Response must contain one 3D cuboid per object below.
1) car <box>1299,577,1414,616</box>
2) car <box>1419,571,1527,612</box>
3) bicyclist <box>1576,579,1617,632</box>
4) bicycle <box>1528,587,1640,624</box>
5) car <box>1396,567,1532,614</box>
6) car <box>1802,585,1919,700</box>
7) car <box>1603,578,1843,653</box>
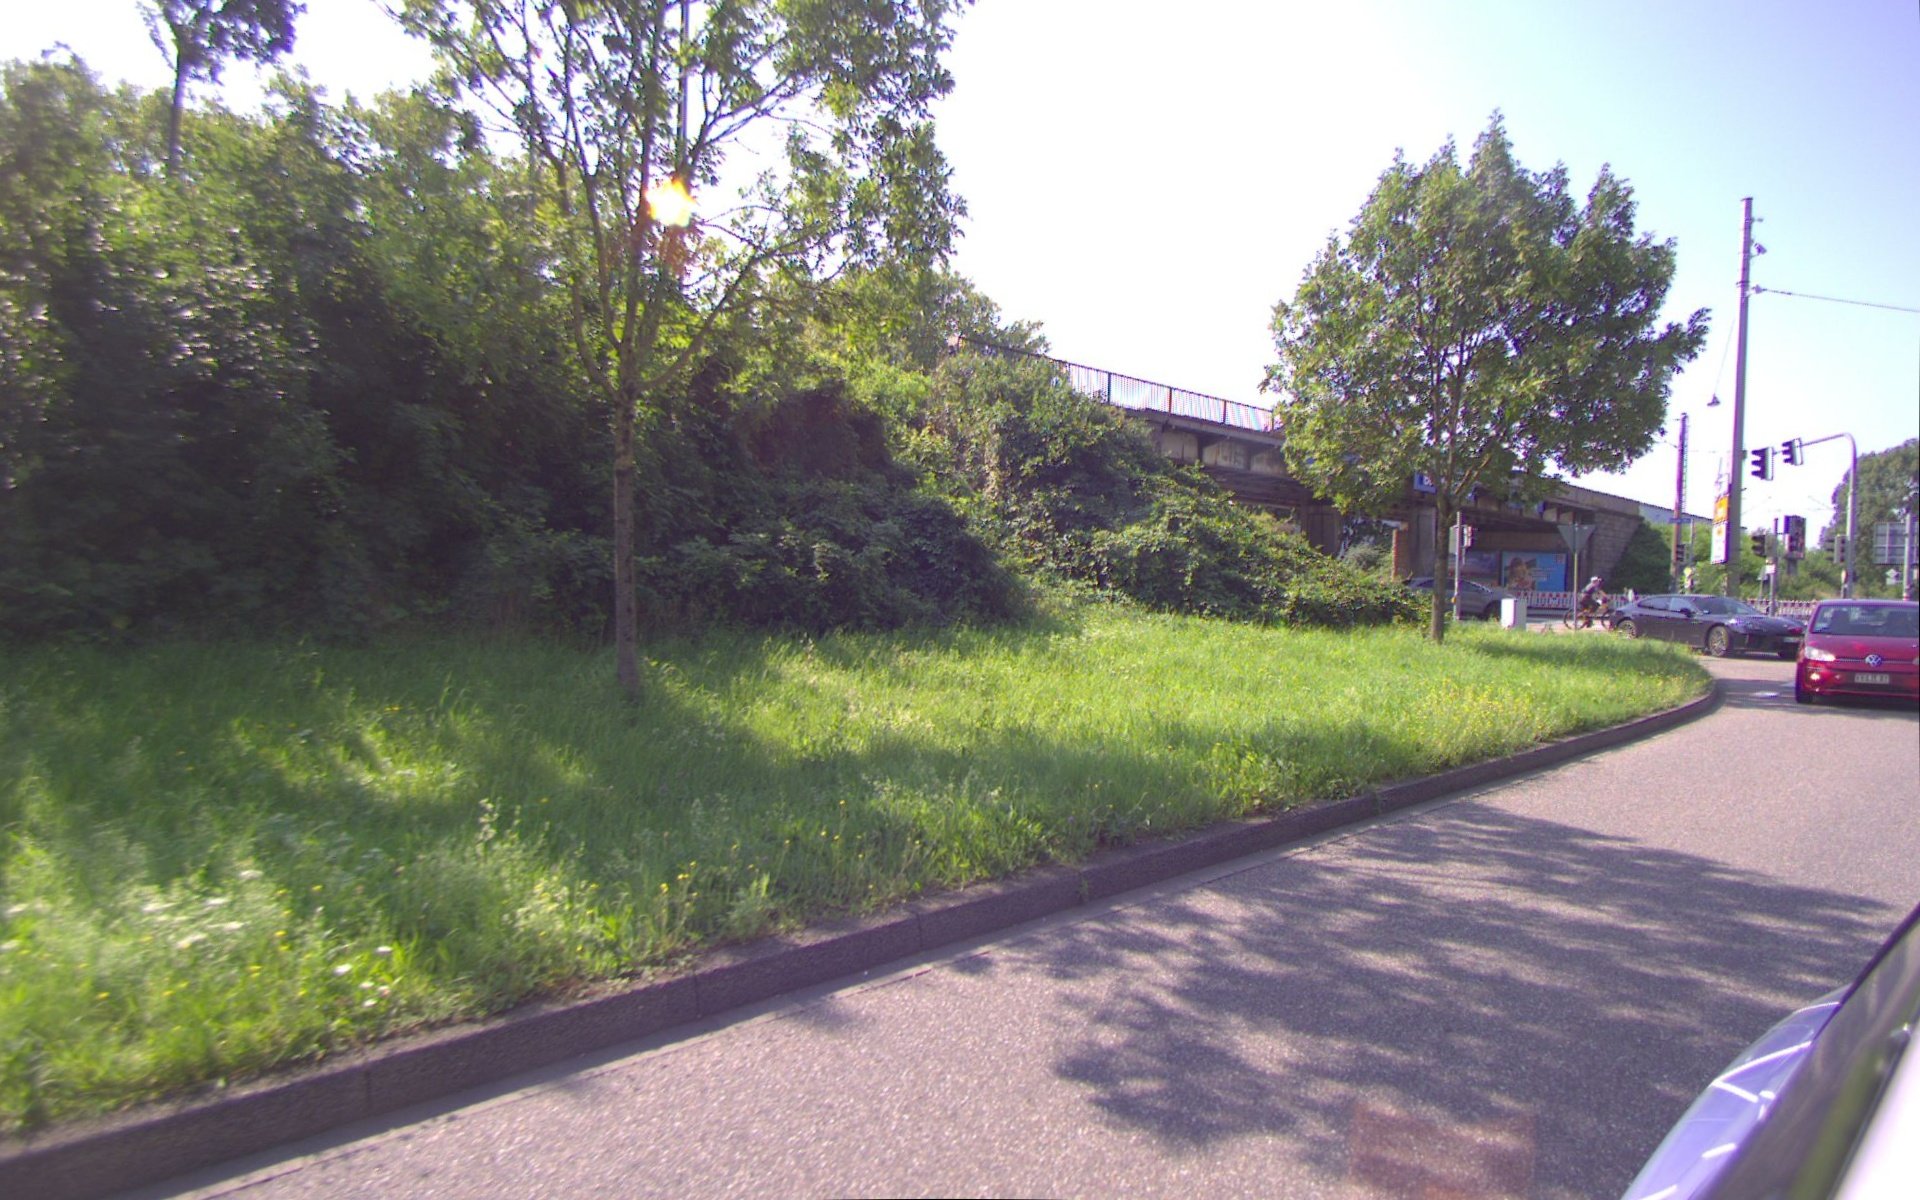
[{"bbox_3d":[16.928,-0.166,43.437,4.278,1.593,1.994,0,0,11],"label":"car"},{"bbox_3d":[21.453,-0.392,42.435,3.637,1.557,1.722,2,2,11],"label":"car"},{"bbox_3d":[20.873,0.165,33.194,0.959,1.679,0.707,2,1,24],"label":"bicyclist"},{"bbox_3d":[20.503,0.152,33.372,2.945,1.062,1.225,3,1,24],"label":"bicycle"},{"bbox_3d":[19.579,-0.399,39.554,4.412,1.636,1.899,2,2,17],"label":"car"},{"bbox_3d":[13.387,0.556,14.478,3.494,1.486,1.640,0,-1,-43],"label":"car"},{"bbox_3d":[18.408,0.291,24.803,1.961,1.480,4.893,1,3,-3],"label":"car"}]
